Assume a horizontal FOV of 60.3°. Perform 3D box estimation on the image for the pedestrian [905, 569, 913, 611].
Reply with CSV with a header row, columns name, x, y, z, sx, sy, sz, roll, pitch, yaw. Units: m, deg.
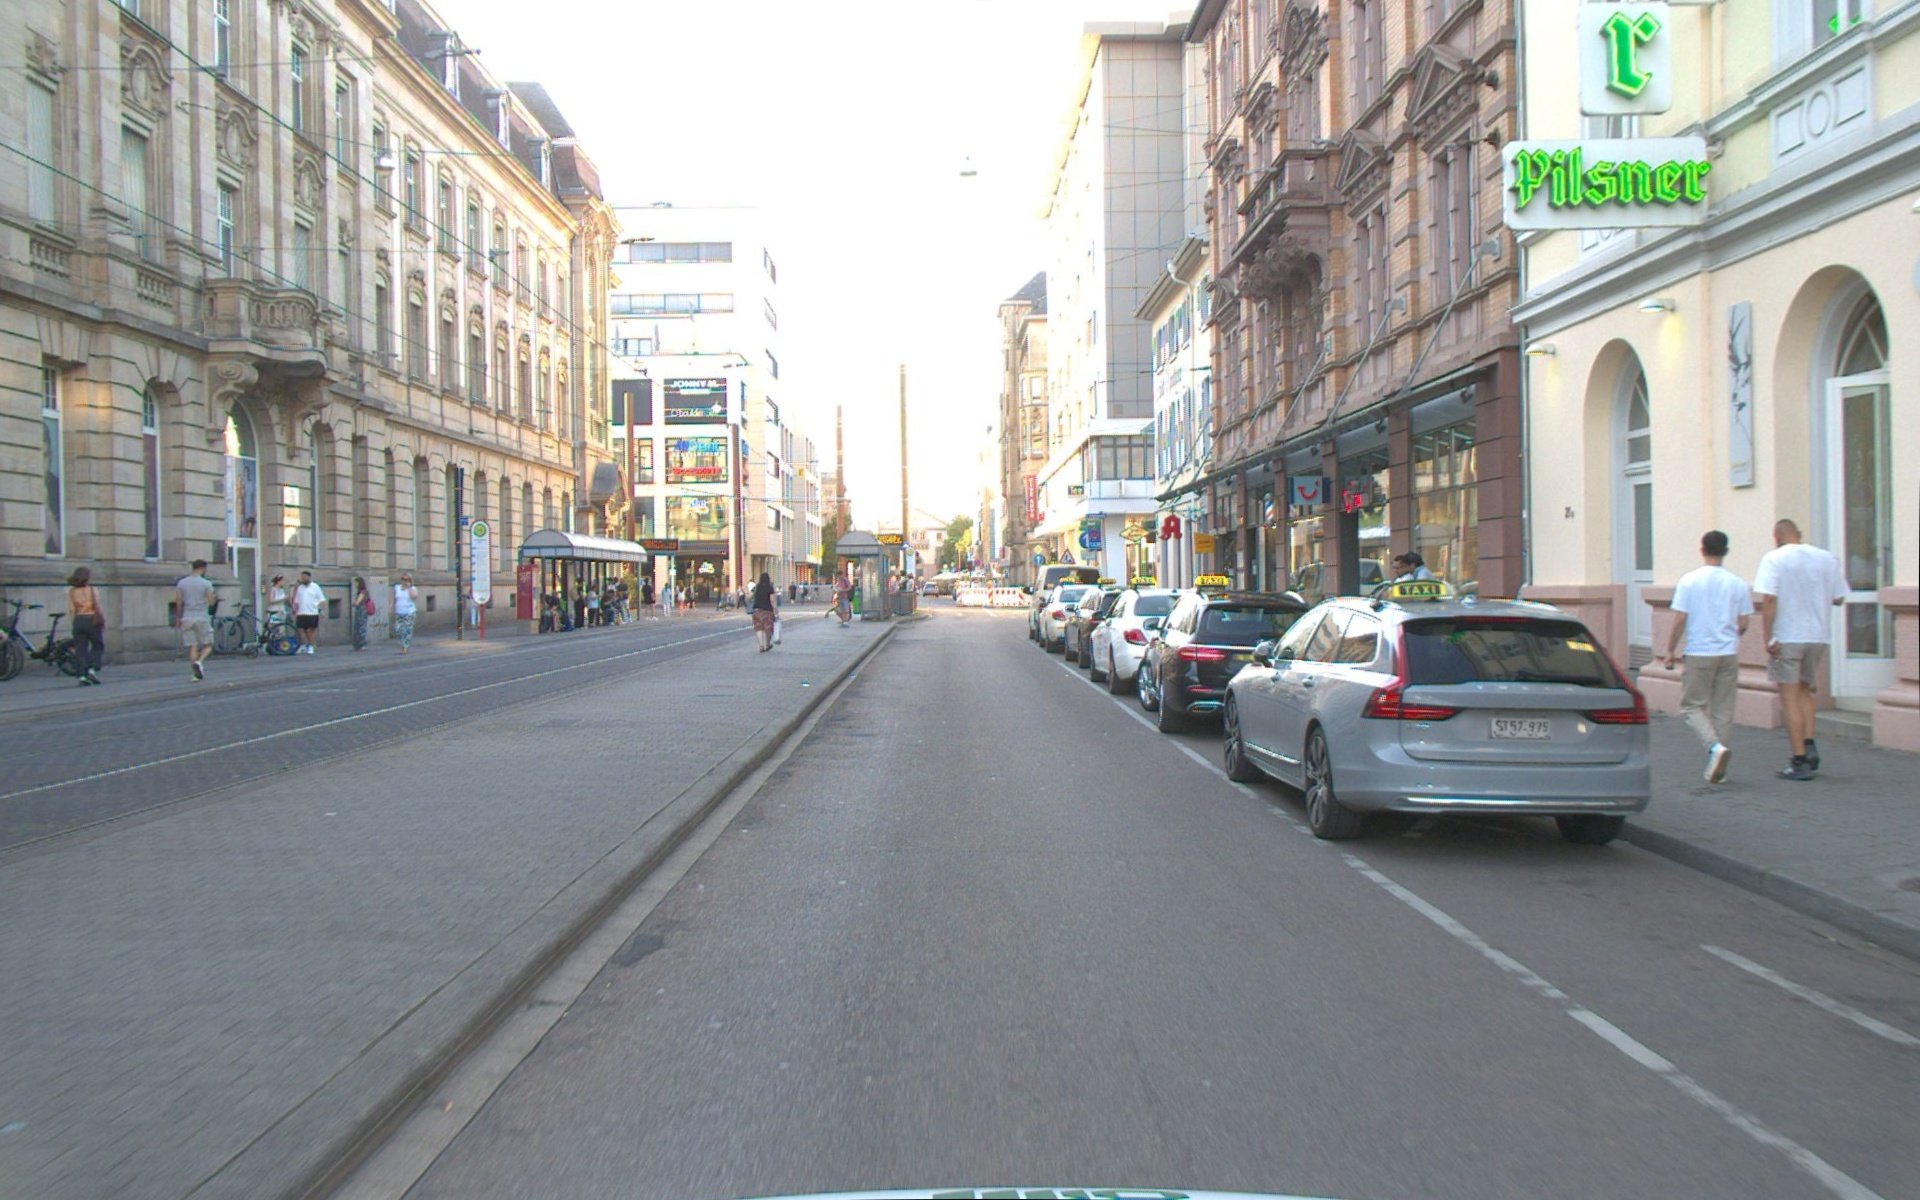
name,x,y,z,sx,sy,sz,roll,pitch,yaw
pedestrian,-2.212,-0.437,72.157,0.335,1.827,0.544,0,0,-3

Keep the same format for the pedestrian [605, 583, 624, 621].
name,x,y,z,sx,sy,sz,roll,pitch,yaw
pedestrian,-12.337,0.084,58.992,0.507,1.350,0.638,-1,0,3

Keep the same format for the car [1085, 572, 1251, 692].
name,x,y,z,sx,sy,sz,roll,pitch,yaw
car,2.917,0.418,24.180,1.697,1.537,4.864,1,0,-1

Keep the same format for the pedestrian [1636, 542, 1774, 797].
name,x,y,z,sx,sy,sz,roll,pitch,yaw
pedestrian,5.284,0.481,11.749,0.607,1.718,0.485,-5,1,-5

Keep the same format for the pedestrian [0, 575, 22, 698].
name,x,y,z,sx,sy,sz,roll,pitch,yaw
pedestrian,-12.041,0.443,20.349,0.678,1.492,0.556,-1,0,-1

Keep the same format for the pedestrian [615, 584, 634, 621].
name,x,y,z,sx,sy,sz,roll,pitch,yaw
pedestrian,-12.291,0.080,60.631,0.507,1.350,0.638,-1,0,3

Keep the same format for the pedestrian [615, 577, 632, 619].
name,x,y,z,sx,sy,sz,roll,pitch,yaw
pedestrian,-12.950,-0.076,63.679,0.507,1.597,0.638,-1,0,3

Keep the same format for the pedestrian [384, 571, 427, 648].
name,x,y,z,sx,sy,sz,roll,pitch,yaw
pedestrian,-11.506,0.191,34.337,0.646,1.589,0.679,-1,0,-1

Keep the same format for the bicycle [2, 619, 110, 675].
name,x,y,z,sx,sy,sz,roll,pitch,yaw
bicycle,-14.830,0.767,27.137,1.542,0.889,0.451,0,0,4

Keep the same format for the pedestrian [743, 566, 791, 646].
name,x,y,z,sx,sy,sz,roll,pitch,yaw
pedestrian,-3.772,0.107,32.344,0.829,1.527,0.901,-1,0,-1

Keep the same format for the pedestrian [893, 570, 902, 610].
name,x,y,z,sx,sy,sz,roll,pitch,yaw
pedestrian,-2.619,-0.432,69.328,0.378,1.670,0.549,0,0,-3

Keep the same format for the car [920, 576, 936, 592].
name,x,y,z,sx,sy,sz,roll,pitch,yaw
car,-3.790,-1.898,195.850,1.953,1.937,3.999,0,0,-2

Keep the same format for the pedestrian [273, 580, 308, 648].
name,x,y,z,sx,sy,sz,roll,pitch,yaw
pedestrian,-14.687,0.301,36.300,0.432,1.465,0.570,0,0,35

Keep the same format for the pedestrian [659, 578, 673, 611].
name,x,y,z,sx,sy,sz,roll,pitch,yaw
pedestrian,-13.863,-0.275,78.078,0.512,1.552,0.497,-1,0,-27

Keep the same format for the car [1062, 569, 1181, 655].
name,x,y,z,sx,sy,sz,roll,pitch,yaw
car,2.981,0.205,31.473,1.691,1.503,4.819,0,0,-1

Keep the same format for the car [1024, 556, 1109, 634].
name,x,y,z,sx,sy,sz,roll,pitch,yaw
car,2.803,-0.138,44.485,1.838,1.957,4.698,1,0,-1

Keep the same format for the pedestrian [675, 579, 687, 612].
name,x,y,z,sx,sy,sz,roll,pitch,yaw
pedestrian,-13.222,-0.237,78.357,0.517,1.552,0.500,-1,0,-15

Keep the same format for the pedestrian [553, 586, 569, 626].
name,x,y,z,sx,sy,sz,roll,pitch,yaw
pedestrian,-12.273,0.173,50.907,0.357,1.221,0.430,0,0,5

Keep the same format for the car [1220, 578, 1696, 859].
name,x,y,z,sx,sy,sz,roll,pitch,yaw
car,3.086,0.619,11.362,1.769,1.501,4.692,0,1,-1

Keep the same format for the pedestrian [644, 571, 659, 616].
name,x,y,z,sx,sy,sz,roll,pitch,yaw
pedestrian,-12.449,-0.260,66.789,0.548,1.807,0.468,0,0,-5

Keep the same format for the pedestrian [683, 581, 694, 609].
name,x,y,z,sx,sy,sz,roll,pitch,yaw
pedestrian,-16.106,-0.312,98.037,0.558,1.621,0.448,-1,0,-3

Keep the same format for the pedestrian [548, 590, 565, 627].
name,x,y,z,sx,sy,sz,roll,pitch,yaw
pedestrian,-12.217,0.246,50.062,0.357,1.122,0.430,0,0,5

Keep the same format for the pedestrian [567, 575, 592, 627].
name,x,y,z,sx,sy,sz,roll,pitch,yaw
pedestrian,-12.401,0.033,53.927,0.507,1.679,0.638,-1,0,21

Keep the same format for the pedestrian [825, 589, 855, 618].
name,x,y,z,sx,sy,sz,roll,pitch,yaw
pedestrian,-3.968,0.109,54.794,0.781,0.955,0.693,0,0,22

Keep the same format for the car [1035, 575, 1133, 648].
name,x,y,z,sx,sy,sz,roll,pitch,yaw
car,2.782,0.208,38.016,1.769,1.509,4.777,1,1,-1

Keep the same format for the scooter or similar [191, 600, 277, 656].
name,x,y,z,sx,sy,sz,roll,pitch,yaw
scooter or similar,-14.386,0.546,32.773,1.514,1.087,0.451,0,0,4

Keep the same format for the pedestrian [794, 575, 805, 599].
name,x,y,z,sx,sy,sz,roll,pitch,yaw
pedestrian,-11.932,-0.954,122.908,0.766,1.782,0.600,0,0,-4

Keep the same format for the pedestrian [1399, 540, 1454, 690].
name,x,y,z,sx,sy,sz,roll,pitch,yaw
pedestrian,5.718,0.176,20.283,0.365,1.799,0.663,-3,0,-5

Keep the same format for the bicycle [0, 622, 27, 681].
name,x,y,z,sx,sy,sz,roll,pitch,yaw
bicycle,-15.138,0.779,25.259,1.542,0.889,0.451,0,0,4

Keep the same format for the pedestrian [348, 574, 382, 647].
name,x,y,z,sx,sy,sz,roll,pitch,yaw
pedestrian,-13.365,0.225,37.162,0.559,1.633,0.440,0,0,26

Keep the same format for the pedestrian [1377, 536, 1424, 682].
name,x,y,z,sx,sy,sz,roll,pitch,yaw
pedestrian,5.547,0.107,20.824,0.365,1.799,0.455,-3,0,-5

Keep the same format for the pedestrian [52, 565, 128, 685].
name,x,y,z,sx,sy,sz,roll,pitch,yaw
pedestrian,-12.872,0.356,24.488,0.678,1.742,0.815,-1,0,-1

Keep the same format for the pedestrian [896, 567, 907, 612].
name,x,y,z,sx,sy,sz,roll,pitch,yaw
pedestrian,-2.352,-0.409,66.322,0.404,1.798,0.594,0,0,-3

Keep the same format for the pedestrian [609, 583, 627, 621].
name,x,y,z,sx,sy,sz,roll,pitch,yaw
pedestrian,-12.350,0.082,59.759,0.507,1.350,0.638,-1,0,3

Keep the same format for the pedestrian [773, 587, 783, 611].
name,x,y,z,sx,sy,sz,roll,pitch,yaw
pedestrian,-13.298,-0.076,120.821,0.635,1.703,0.531,-1,0,7

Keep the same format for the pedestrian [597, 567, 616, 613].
name,x,y,z,sx,sy,sz,roll,pitch,yaw
pedestrian,-13.201,-0.379,61.851,0.662,1.721,0.636,-1,0,-11

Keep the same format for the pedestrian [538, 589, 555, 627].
name,x,y,z,sx,sy,sz,roll,pitch,yaw
pedestrian,-12.362,0.246,49.474,0.357,1.122,0.430,0,0,5

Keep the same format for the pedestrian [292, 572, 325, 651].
name,x,y,z,sx,sy,sz,roll,pitch,yaw
pedestrian,-13.893,0.238,35.281,0.466,1.671,0.562,0,0,-1

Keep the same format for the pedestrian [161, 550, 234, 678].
name,x,y,z,sx,sy,sz,roll,pitch,yaw
pedestrian,-11.147,0.194,24.200,0.678,1.844,0.814,-1,0,-1

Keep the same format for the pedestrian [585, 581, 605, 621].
name,x,y,z,sx,sy,sz,roll,pitch,yaw
pedestrian,-12.435,0.027,56.379,0.507,1.350,0.638,-1,0,3

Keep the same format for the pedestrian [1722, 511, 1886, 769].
name,x,y,z,sx,sy,sz,roll,pitch,yaw
pedestrian,5.962,0.276,11.706,0.744,1.718,0.551,-5,1,-2

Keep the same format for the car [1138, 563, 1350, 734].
name,x,y,z,sx,sy,sz,roll,pitch,yaw
car,2.994,0.466,18.288,1.697,1.618,4.443,1,0,2

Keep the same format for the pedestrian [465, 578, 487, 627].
name,x,y,z,sx,sy,sz,roll,pitch,yaw
pedestrian,-16.096,0.077,54.993,0.648,1.589,0.677,-1,0,-15

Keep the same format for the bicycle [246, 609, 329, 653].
name,x,y,z,sx,sy,sz,roll,pitch,yaw
bicycle,-13.993,0.635,34.425,1.542,0.889,0.451,0,0,4

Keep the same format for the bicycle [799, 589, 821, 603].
name,x,y,z,sx,sy,sz,roll,pitch,yaw
bicycle,-11.989,-0.341,132.252,1.661,1.141,0.451,0,0,1

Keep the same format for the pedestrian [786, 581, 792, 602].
name,x,y,z,sx,sy,sz,roll,pitch,yaw
pedestrian,-12.668,-0.626,122.269,0.382,1.541,0.505,-1,0,-3

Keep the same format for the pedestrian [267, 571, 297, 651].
name,x,y,z,sx,sy,sz,roll,pitch,yaw
pedestrian,-14.348,0.232,35.033,0.328,1.671,0.606,0,0,6

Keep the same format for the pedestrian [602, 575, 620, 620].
name,x,y,z,sx,sy,sz,roll,pitch,yaw
pedestrian,-13.279,-0.094,62.906,0.507,1.674,0.638,-1,0,3

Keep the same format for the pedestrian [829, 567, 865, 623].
name,x,y,z,sx,sy,sz,roll,pitch,yaw
pedestrian,-3.406,-0.158,49.761,0.675,1.666,0.857,0,0,39
